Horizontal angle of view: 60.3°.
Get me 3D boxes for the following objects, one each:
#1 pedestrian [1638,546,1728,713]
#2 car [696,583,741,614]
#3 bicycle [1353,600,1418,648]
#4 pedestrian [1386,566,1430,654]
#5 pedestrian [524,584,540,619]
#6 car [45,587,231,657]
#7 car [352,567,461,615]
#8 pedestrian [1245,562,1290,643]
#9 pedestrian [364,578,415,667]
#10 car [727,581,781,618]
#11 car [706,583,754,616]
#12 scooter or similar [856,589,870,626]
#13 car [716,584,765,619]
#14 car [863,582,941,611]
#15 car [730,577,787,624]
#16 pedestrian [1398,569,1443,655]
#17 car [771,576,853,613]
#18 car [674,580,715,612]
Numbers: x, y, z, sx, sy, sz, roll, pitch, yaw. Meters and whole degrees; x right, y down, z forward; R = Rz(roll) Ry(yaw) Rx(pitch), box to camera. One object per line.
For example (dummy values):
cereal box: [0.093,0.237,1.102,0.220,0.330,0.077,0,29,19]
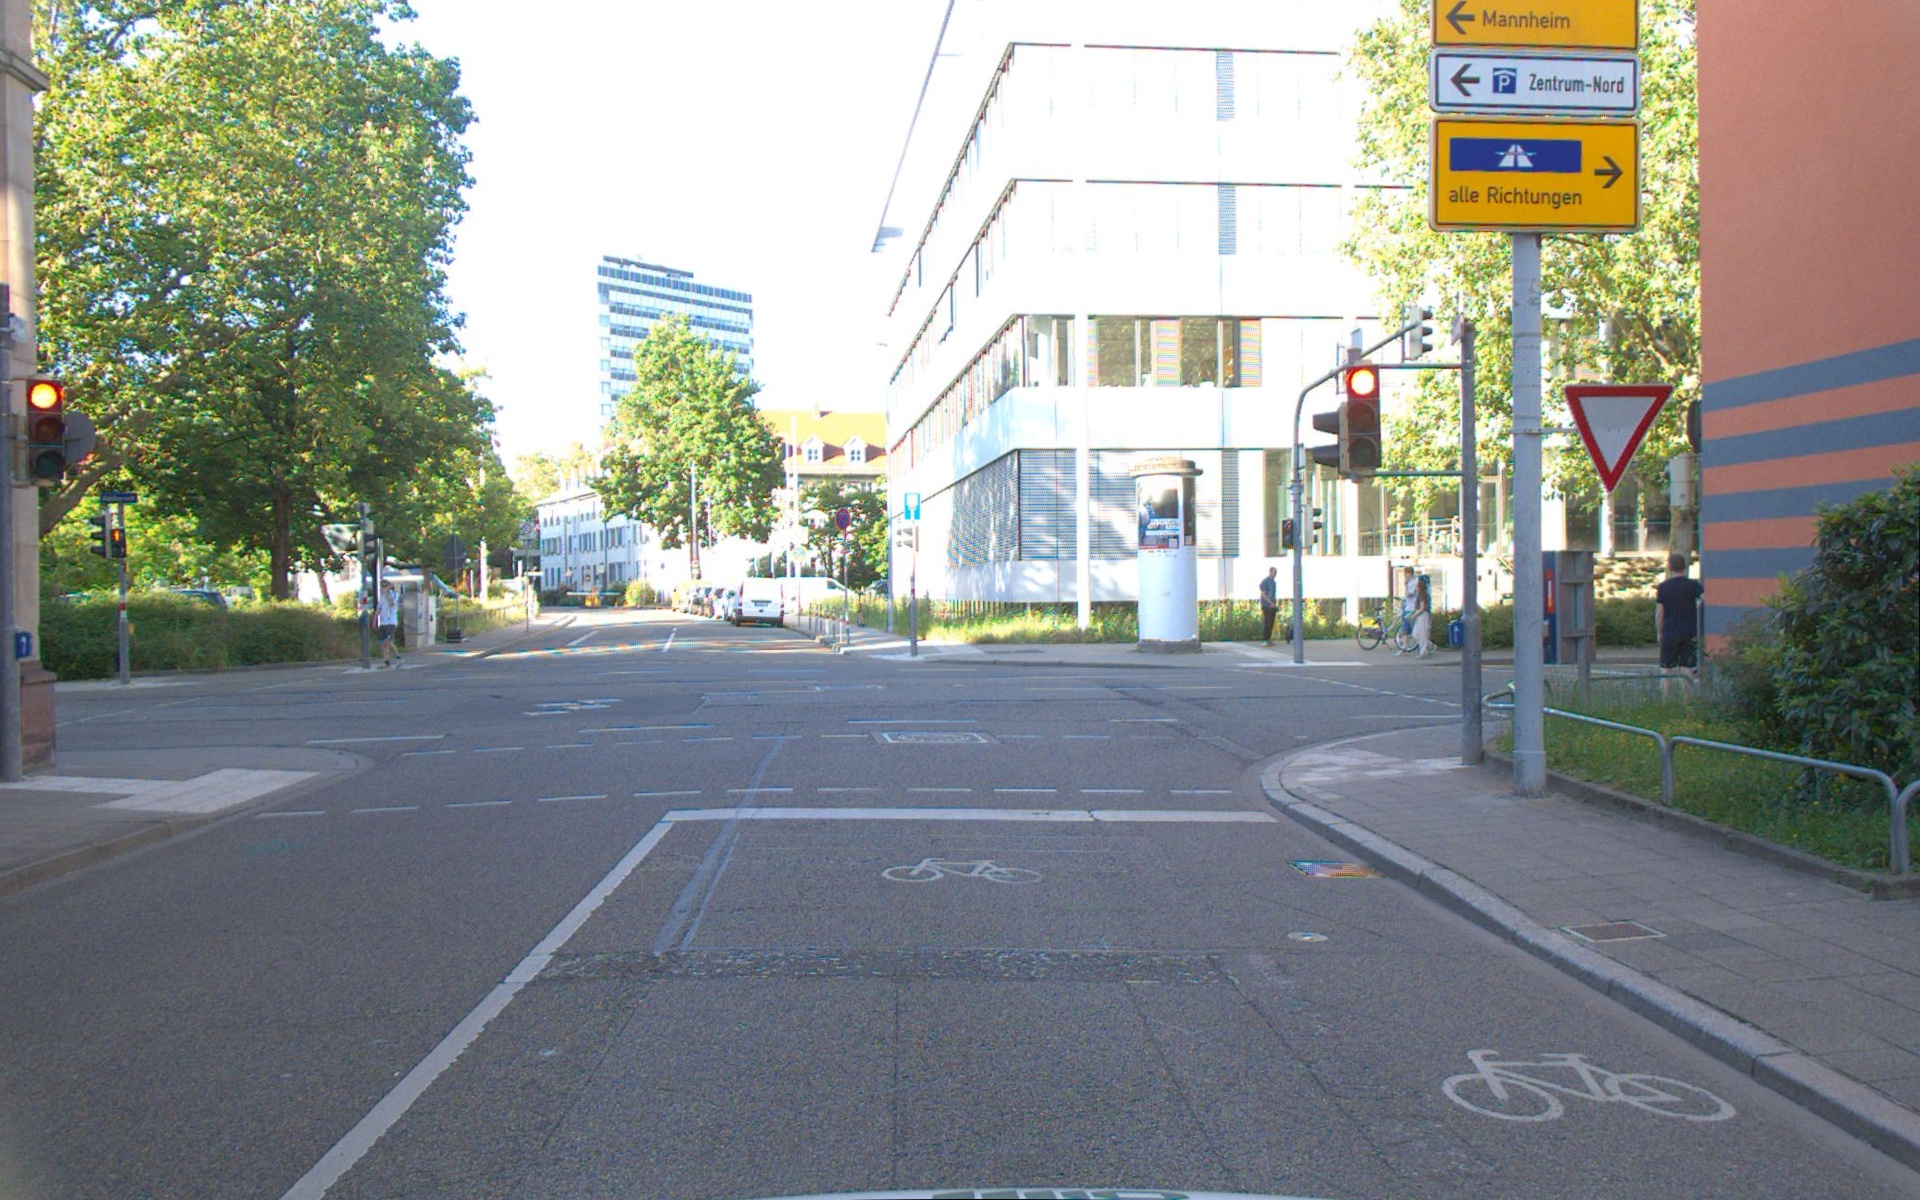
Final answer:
pedestrian: [8.182,0.326,18.723,0.713,1.842,0.691,1,-1,-42]
car: [-12.548,-0.052,85.795,1.959,1.525,4.637,1,0,-13]
bicycle: [9.324,0.511,36.287,0.376,1.026,1.410,-1,0,-42]
pedestrian: [9.446,0.200,34.894,0.749,1.826,0.648,1,-1,2]
pedestrian: [-19.810,0.059,76.538,0.688,1.614,0.634,1,-1,-16]
car: [-18.366,0.483,37.070,3.347,1.483,1.646,1,0,-11]
car: [-24.960,-0.392,74.688,4.363,2.049,1.995,1,0,-10]
pedestrian: [7.141,0.060,38.376,0.895,1.847,0.762,1,-1,21]
pedestrian: [-12.432,0.484,36.032,0.904,1.901,0.735,1,-1,-30]
car: [-8.867,-0.019,70.907,1.958,1.525,4.639,1,0,-11]
car: [-11.305,-0.010,81.089,1.959,1.525,4.272,1,0,-13]
scooter or similar: [-3.426,0.268,58.241,0.429,1.278,1.418,-1,0,-5]
car: [-10.192,0.058,76.658,1.958,1.525,4.639,1,0,-11]
car: [-3.671,-0.234,104.728,4.563,1.755,1.991,1,0,-17]
car: [-7.914,0.015,64.708,1.957,1.755,4.641,1,0,-10]
pedestrian: [9.504,0.249,34.147,0.749,1.749,0.648,1,-1,2]
car: [-9.196,-0.351,102.803,4.718,2.196,1.990,1,0,-18]
car: [-15.380,-0.213,95.610,1.960,1.755,4.635,1,0,-14]
